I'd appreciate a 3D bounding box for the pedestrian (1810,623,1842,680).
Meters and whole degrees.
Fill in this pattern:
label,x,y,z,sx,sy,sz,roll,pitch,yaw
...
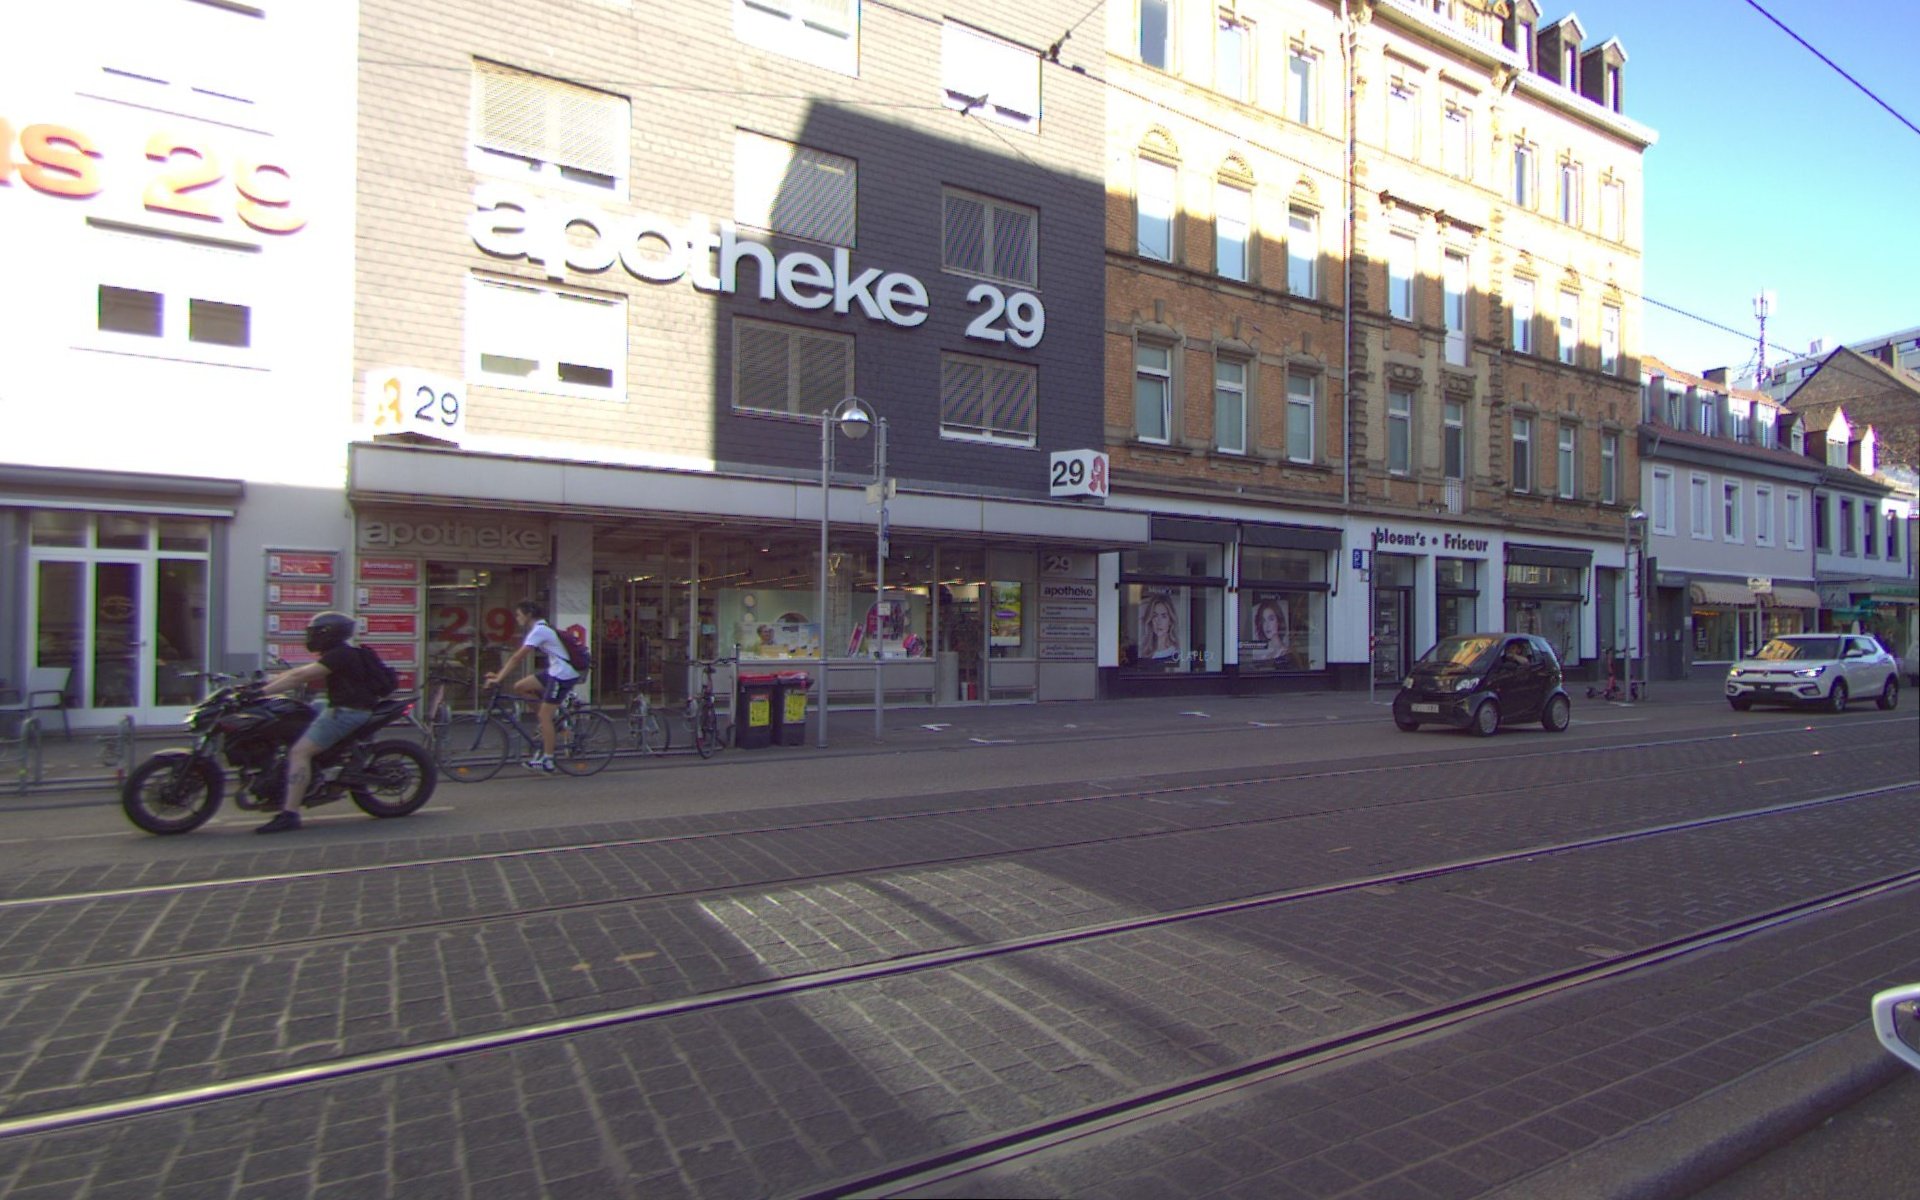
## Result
label,x,y,z,sx,sy,sz,roll,pitch,yaw
pedestrian,28.577,1.689,33.160,0.636,1.847,0.652,1,-2,-35

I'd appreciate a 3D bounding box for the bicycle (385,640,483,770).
label,x,y,z,sx,sy,sz,roll,pitch,yaw
bicycle,-6.062,1.141,11.517,0.766,1.296,1.922,1,-1,-34

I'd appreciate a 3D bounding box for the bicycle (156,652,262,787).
label,x,y,z,sx,sy,sz,roll,pitch,yaw
bicycle,-7.776,1.177,10.469,0.766,1.188,1.922,1,-1,-34

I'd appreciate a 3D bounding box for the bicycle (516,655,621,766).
label,x,y,z,sx,sy,sz,roll,pitch,yaw
bicycle,-4.780,1.282,12.196,0.766,1.167,1.922,1,-2,-34

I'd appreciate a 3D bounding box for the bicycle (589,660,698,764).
label,x,y,z,sx,sy,sz,roll,pitch,yaw
bicycle,-3.963,1.338,12.465,0.766,1.125,1.922,1,-2,-34

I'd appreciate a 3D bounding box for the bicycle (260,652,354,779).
label,x,y,z,sx,sy,sz,roll,pitch,yaw
bicycle,-7.104,1.188,10.913,0.766,1.208,1.922,1,-2,-34

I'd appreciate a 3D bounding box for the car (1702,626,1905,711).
label,x,y,z,sx,sy,sz,roll,pitch,yaw
car,17.697,1.402,21.049,4.212,1.614,1.882,1,-3,-30

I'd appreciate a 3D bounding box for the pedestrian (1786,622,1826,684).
label,x,y,z,sx,sy,sz,roll,pitch,yaw
pedestrian,25.007,1.552,29.700,0.707,1.799,0.613,1,-1,-17

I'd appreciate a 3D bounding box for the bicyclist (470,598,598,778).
label,x,y,z,sx,sy,sz,roll,pitch,yaw
bicyclist,-4.424,0.883,10.435,1.132,1.752,0.747,1,-2,-29

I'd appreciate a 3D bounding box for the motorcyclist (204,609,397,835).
label,x,y,z,sx,sy,sz,roll,pitch,yaw
motorcyclist,-4.988,0.886,7.696,1.132,1.578,0.800,1,-3,-29

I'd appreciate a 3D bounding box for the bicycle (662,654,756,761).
label,x,y,z,sx,sy,sz,roll,pitch,yaw
bicycle,-3.185,1.295,12.608,0.546,1.205,1.923,1,-2,-33

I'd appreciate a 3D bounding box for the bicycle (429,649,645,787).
label,x,y,z,sx,sy,sz,roll,pitch,yaw
bicycle,-4.413,1.180,10.531,2.002,1.310,0.747,1,-2,-30

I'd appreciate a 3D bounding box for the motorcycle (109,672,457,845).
label,x,y,z,sx,sy,sz,roll,pitch,yaw
motorcycle,-4.991,1.127,7.587,2.092,1.134,0.567,1,-3,-30

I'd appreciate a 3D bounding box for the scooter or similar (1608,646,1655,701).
label,x,y,z,sx,sy,sz,roll,pitch,yaw
scooter or similar,15.764,1.710,23.589,1.461,1.218,0.362,1,0,-33

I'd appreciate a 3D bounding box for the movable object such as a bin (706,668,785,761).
label,x,y,z,sx,sy,sz,roll,pitch,yaw
movable object such as a bin,-2.830,1.476,13.191,0.726,1.086,1.094,1,-1,-29

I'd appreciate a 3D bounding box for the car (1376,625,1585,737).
label,x,y,z,sx,sy,sz,roll,pitch,yaw
car,8.093,1.198,15.630,2.795,1.586,1.641,1,-2,-30

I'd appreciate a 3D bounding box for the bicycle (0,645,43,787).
label,x,y,z,sx,sy,sz,roll,pitch,yaw
bicycle,-9.563,1.088,9.666,0.766,1.240,2.090,1,-1,-34

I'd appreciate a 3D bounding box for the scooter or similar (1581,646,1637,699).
label,x,y,z,sx,sy,sz,roll,pitch,yaw
scooter or similar,15.525,1.717,24.012,1.461,1.218,0.576,1,0,-33

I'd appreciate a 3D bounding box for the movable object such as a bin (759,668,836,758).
label,x,y,z,sx,sy,sz,roll,pitch,yaw
movable object such as a bin,-2.205,1.492,13.542,0.690,1.077,1.094,1,-1,-29

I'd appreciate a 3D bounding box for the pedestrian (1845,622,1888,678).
label,x,y,z,sx,sy,sz,roll,pitch,yaw
pedestrian,29.691,1.621,32.917,0.680,1.799,0.881,1,-2,-31
